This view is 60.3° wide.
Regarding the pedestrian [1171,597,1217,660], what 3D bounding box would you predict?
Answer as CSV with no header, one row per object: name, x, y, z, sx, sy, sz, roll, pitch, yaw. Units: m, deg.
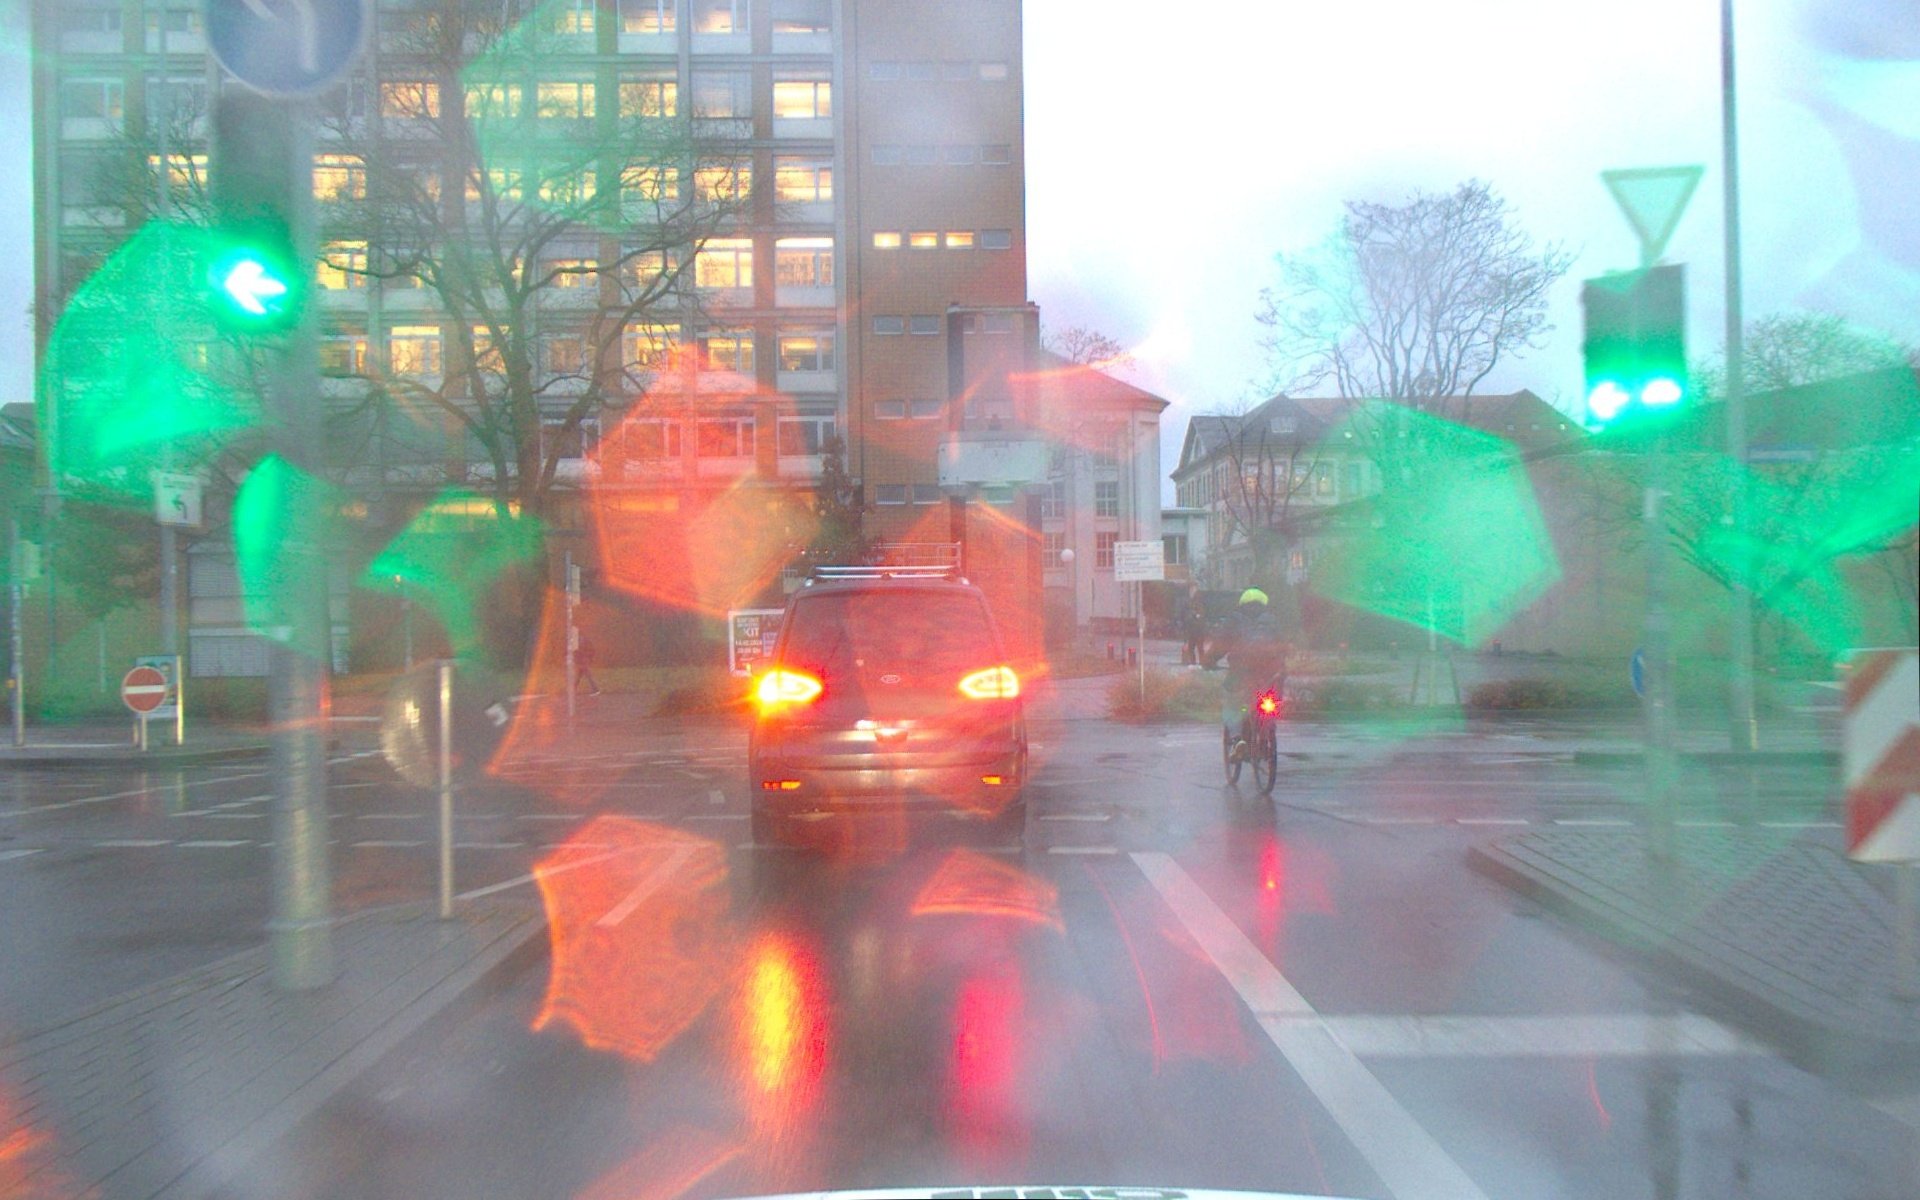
pedestrian,6.574,0.780,46.501,0.920,1.717,0.898,-1,2,-44

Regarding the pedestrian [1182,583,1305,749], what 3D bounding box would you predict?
pedestrian,2.396,0.546,14.076,0.857,1.340,0.848,-2,0,-1

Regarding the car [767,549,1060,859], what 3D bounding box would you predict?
car,-0.409,0.667,12.106,1.742,1.832,4.420,0,-1,-4

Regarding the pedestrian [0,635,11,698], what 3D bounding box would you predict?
pedestrian,-26.879,1.855,46.040,0.663,1.717,0.603,-3,2,-40

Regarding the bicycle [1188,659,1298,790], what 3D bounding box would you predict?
bicycle,2.424,1.037,14.367,0.550,0.963,2.095,-2,0,-1

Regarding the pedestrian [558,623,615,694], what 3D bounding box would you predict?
pedestrian,-9.295,1.455,41.187,1.044,1.717,0.810,-2,1,19

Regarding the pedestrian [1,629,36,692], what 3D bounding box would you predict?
pedestrian,-26.559,1.699,46.665,0.713,1.717,0.749,-1,-1,-40
